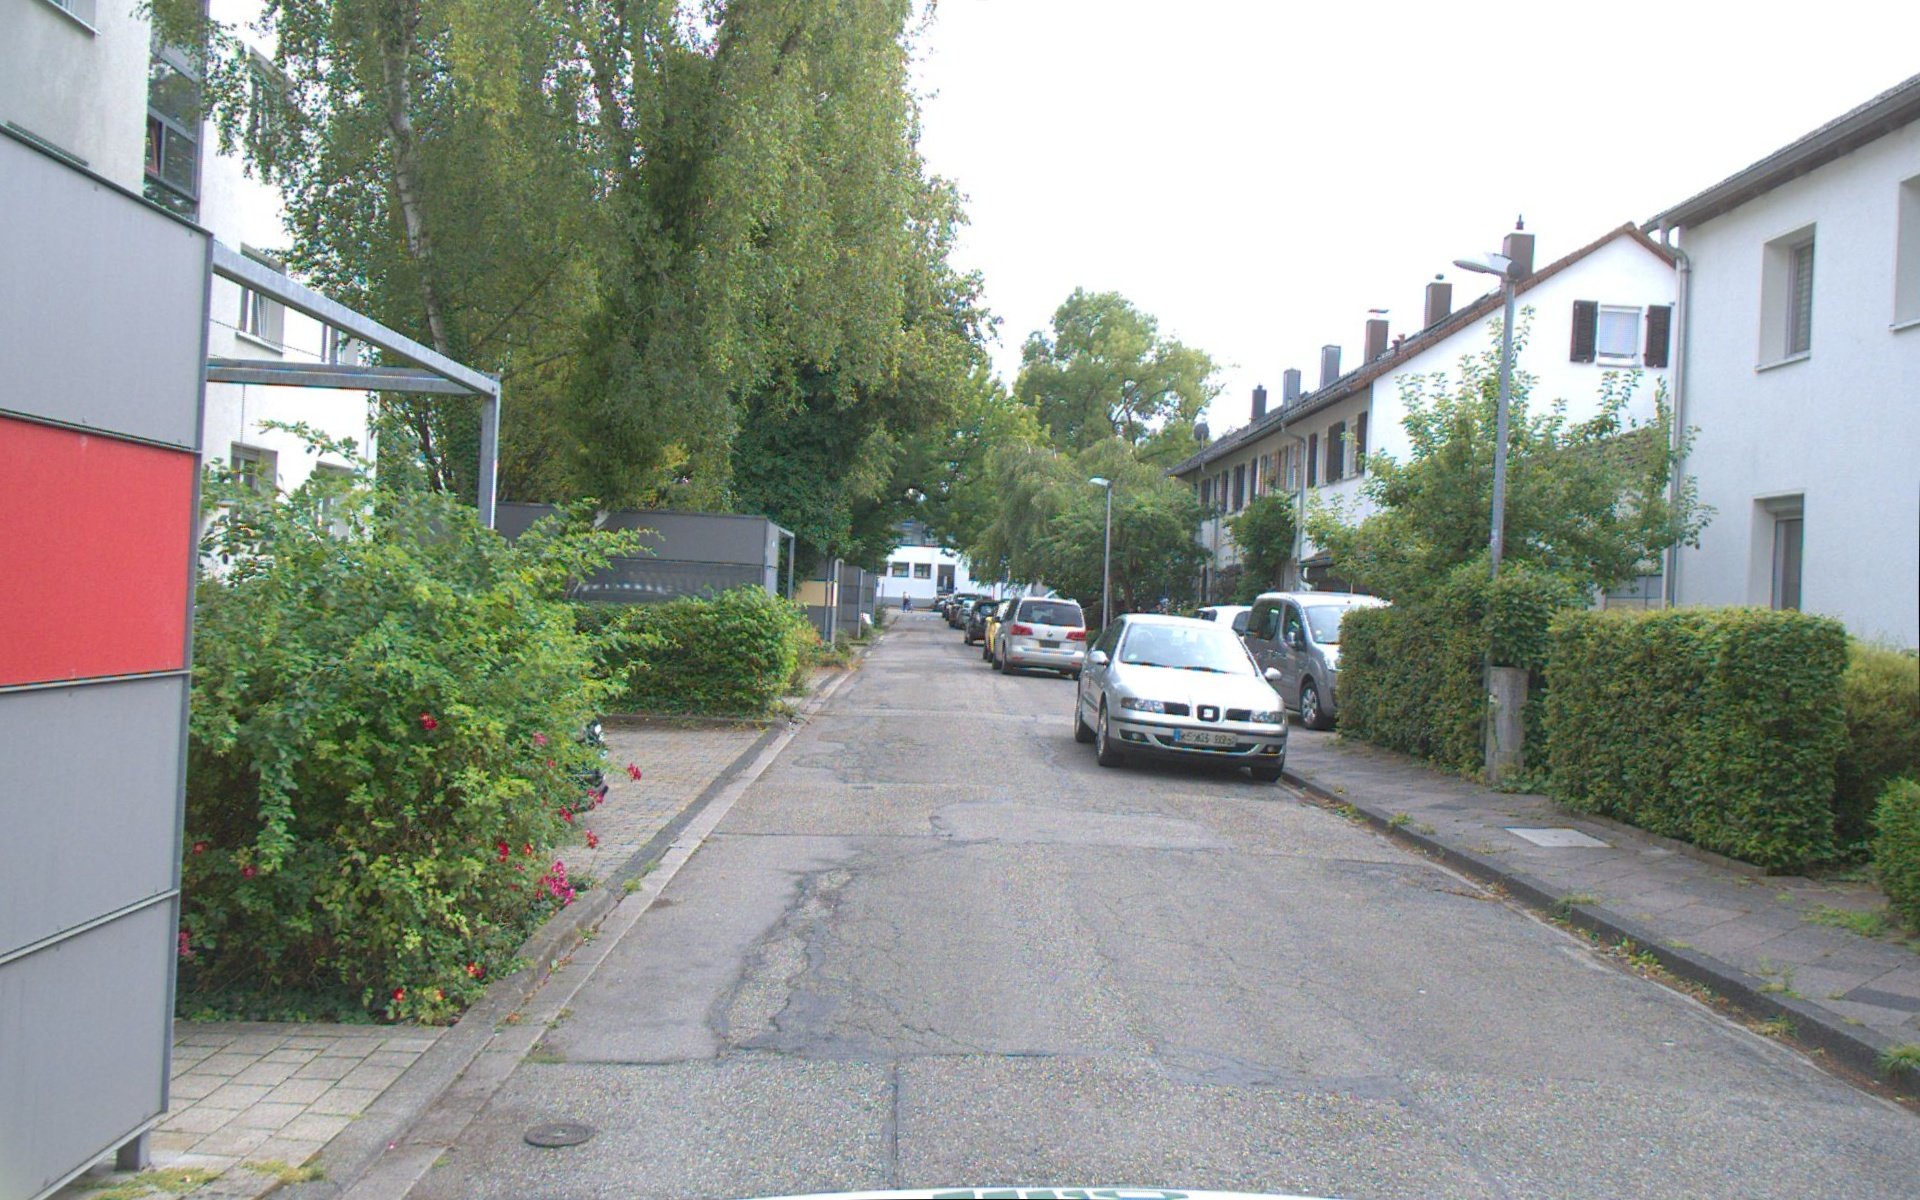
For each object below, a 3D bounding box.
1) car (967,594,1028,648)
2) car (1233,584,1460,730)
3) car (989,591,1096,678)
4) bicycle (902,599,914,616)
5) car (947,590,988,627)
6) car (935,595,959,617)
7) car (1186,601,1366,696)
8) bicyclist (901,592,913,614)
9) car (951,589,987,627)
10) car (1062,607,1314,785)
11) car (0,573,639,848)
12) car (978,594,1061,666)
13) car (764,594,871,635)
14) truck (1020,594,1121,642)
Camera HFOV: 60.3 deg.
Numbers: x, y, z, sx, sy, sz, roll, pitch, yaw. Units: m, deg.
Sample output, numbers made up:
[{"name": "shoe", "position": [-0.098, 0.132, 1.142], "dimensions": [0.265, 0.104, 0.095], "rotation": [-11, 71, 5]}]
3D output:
[{"name": "car", "position": [1.219, 0.683, 55.425], "dimensions": [1.788, 1.608, 4.192], "rotation": [5, 0, -1]}, {"name": "car", "position": [5.179, 0.728, 22.758], "dimensions": [1.789, 1.808, 4.336], "rotation": [0, 0, -5]}, {"name": "car", "position": [1.695, 0.687, 35.242], "dimensions": [1.789, 1.608, 3.998], "rotation": [5, 0, -3]}, {"name": "bicycle", "position": [-3.821, 0.535, 120.585], "dimensions": [0.675, 1.151, 2.579], "rotation": [4, 0, 1]}, {"name": "car", "position": [0.326, 0.416, 80.432], "dimensions": [1.788, 1.608, 3.999], "rotation": [5, 0, -1]}, {"name": "car", "position": [-1.032, 0.484, 133.055], "dimensions": [1.788, 1.608, 3.999], "rotation": [5, 0, -1]}, {"name": "car", "position": [5.515, 0.833, 29.091], "dimensions": [2.761, 1.596, 1.739], "rotation": [1, 0, -4]}, {"name": "bicyclist", "position": [-3.864, 0.207, 120.594], "dimensions": [0.782, 1.537, 0.934], "rotation": [4, -1, 1]}, {"name": "car", "position": [0.461, 0.453, 92.194], "dimensions": [1.788, 1.915, 3.999], "rotation": [5, 0, -1]}, {"name": "car", "position": [2.135, 0.850, 16.667], "dimensions": [1.788, 1.394, 4.330], "rotation": [5, 0, -1]}, {"name": "car", "position": [-4.191, 0.606, 9.985], "dimensions": [4.242, 1.400, 1.920], "rotation": [2, 0, -7]}, {"name": "car", "position": [1.458, 0.718, 41.973], "dimensions": [1.788, 1.608, 3.999], "rotation": [5, 0, -1]}, {"name": "car", "position": [-5.413, 0.561, 63.230], "dimensions": [3.950, 1.418, 1.737], "rotation": [2, 0, -2]}, {"name": "truck", "position": [4.889, 0.805, 73.762], "dimensions": [4.302, 2.049, 1.999], "rotation": [1, 0, -2]}]
